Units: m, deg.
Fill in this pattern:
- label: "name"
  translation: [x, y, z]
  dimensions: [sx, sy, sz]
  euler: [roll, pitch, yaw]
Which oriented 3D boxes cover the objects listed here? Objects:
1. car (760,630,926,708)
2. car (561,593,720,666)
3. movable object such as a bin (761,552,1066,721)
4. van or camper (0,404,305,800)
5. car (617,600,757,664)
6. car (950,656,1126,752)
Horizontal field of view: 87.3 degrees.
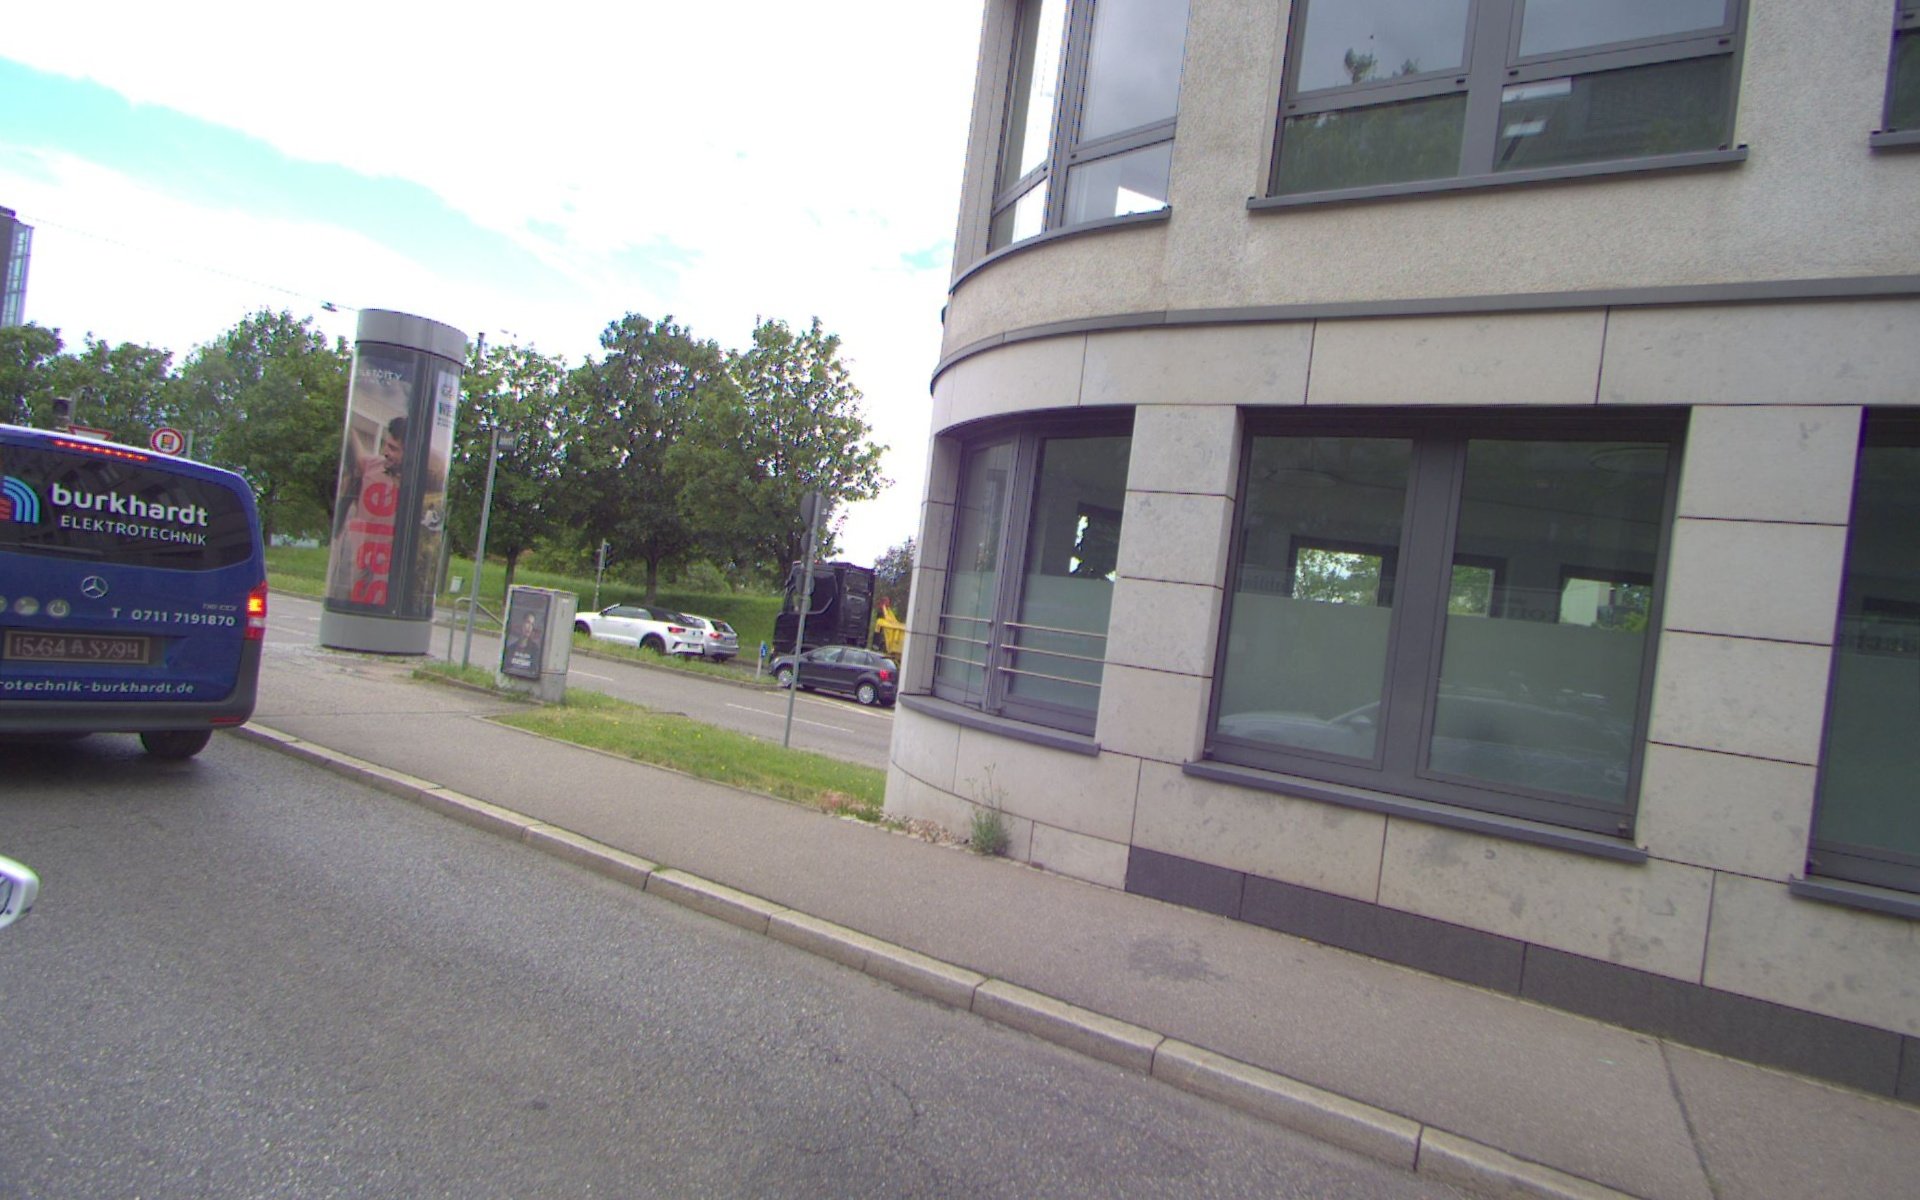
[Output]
- label: "car"
  translation: [-3.196, 1.911, 27.736]
  dimensions: [3.925, 1.469, 2.003]
  euler: [8, -3, 19]
- label: "car"
  translation: [-9.494, 0.893, 29.977]
  dimensions: [3.925, 1.469, 2.003]
  euler: [8, -3, 19]
- label: "movable object such as a bin"
  translation: [-1.394, 1.051, 30.566]
  dimensions: [8.410, 3.949, 2.870]
  euler: [7, -1, 18]
- label: "van or camper"
  translation: [-6.585, -0.191, 6.515]
  dimensions: [4.949, 1.934, 1.862]
  euler: [7, -1, 32]
- label: "car"
  translation: [-9.102, 1.080, 33.605]
  dimensions: [3.925, 1.469, 2.003]
  euler: [8, -3, 19]
- label: "car"
  translation: [2.020, 2.630, 25.714]
  dimensions: [3.925, 1.723, 2.003]
  euler: [8, -3, 19]
